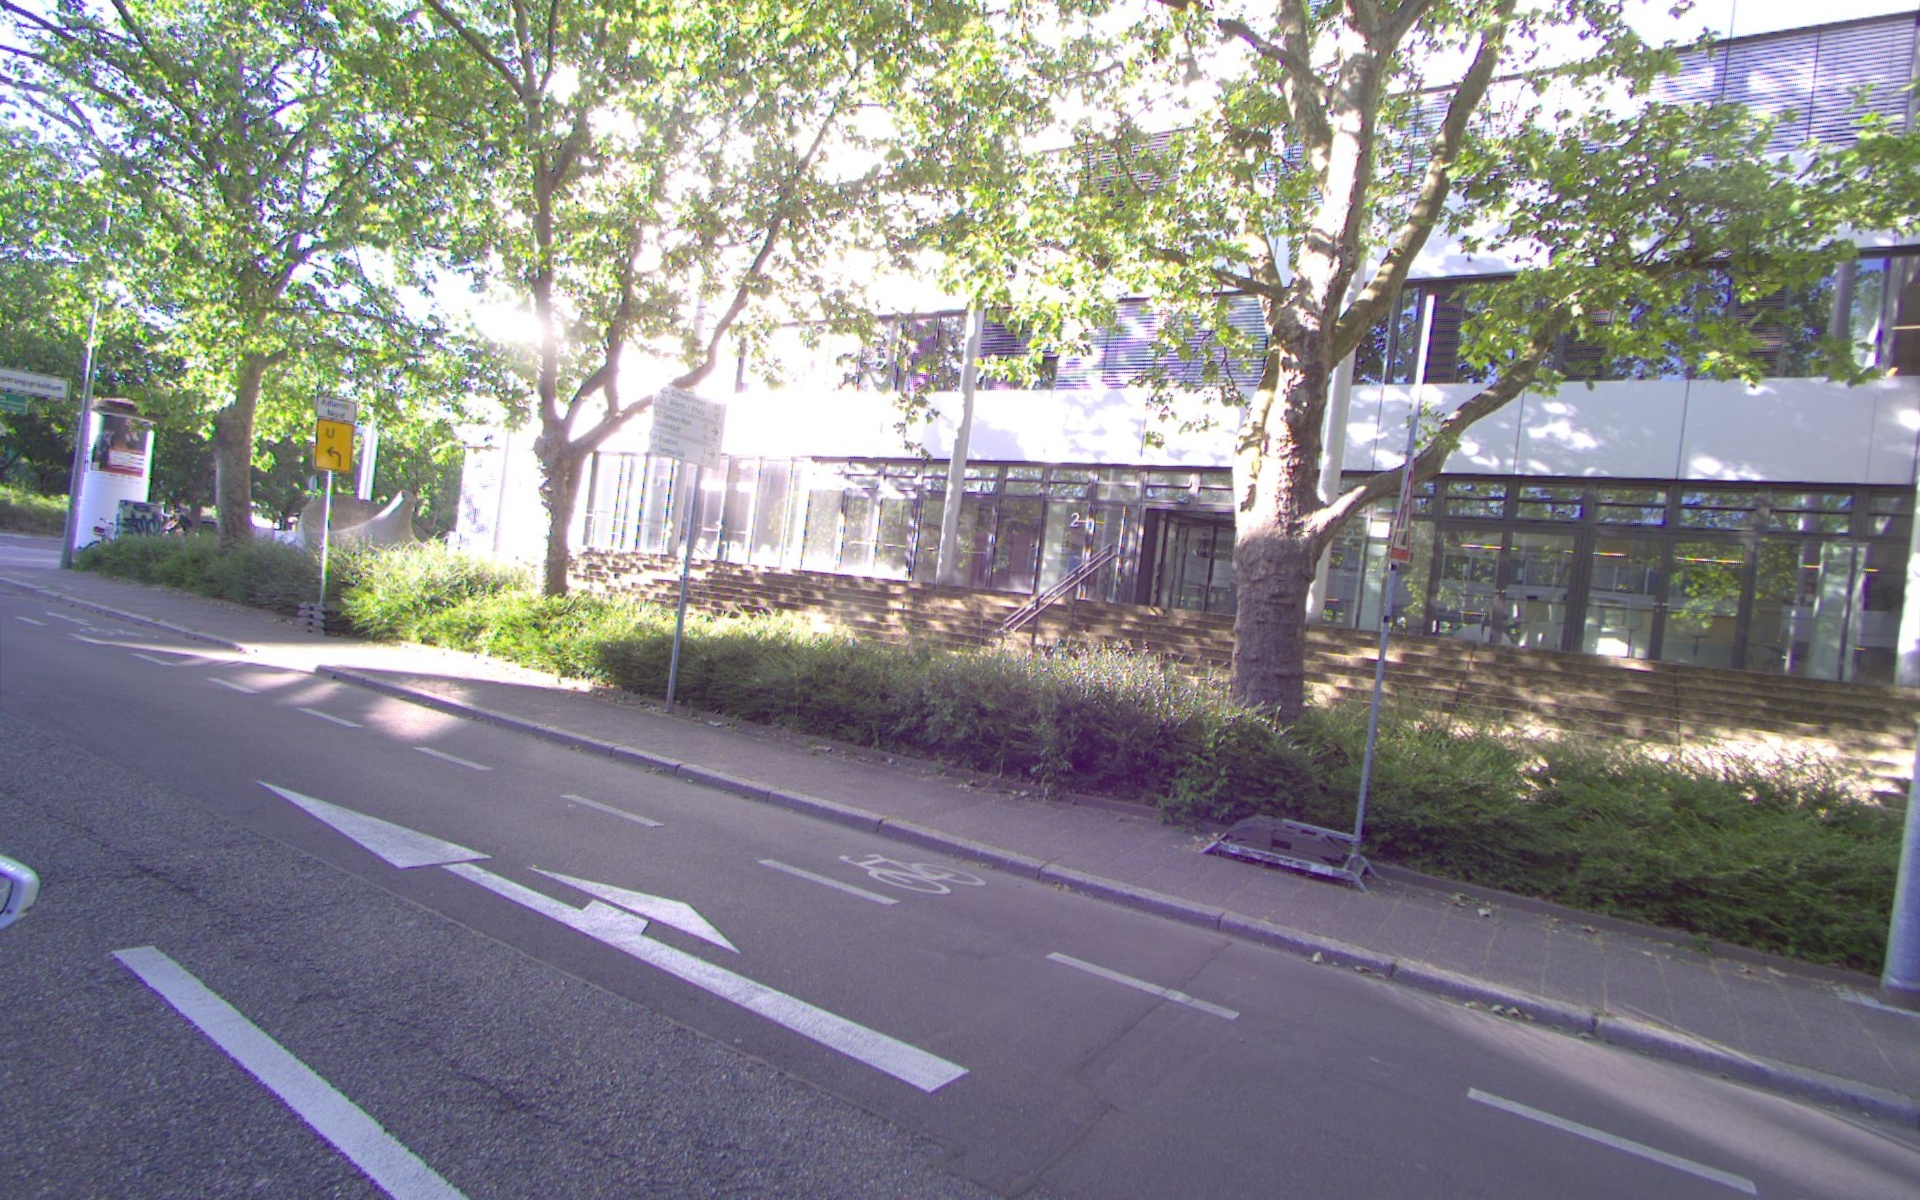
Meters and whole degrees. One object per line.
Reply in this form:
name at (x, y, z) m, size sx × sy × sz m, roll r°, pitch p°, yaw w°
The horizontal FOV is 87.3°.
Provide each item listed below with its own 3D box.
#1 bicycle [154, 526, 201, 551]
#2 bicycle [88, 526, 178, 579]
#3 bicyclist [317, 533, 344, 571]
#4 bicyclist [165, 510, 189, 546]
bicycle at (-32.215, -2.539, 41.450) m, size 0.504 × 0.810 × 1.370 m, roll 6°, pitch -2°, yaw 35°
bicycle at (-19.029, -1.073, 23.168) m, size 0.295 × 0.991 × 1.484 m, roll 6°, pitch -2°, yaw 37°
bicyclist at (-29.059, -2.208, 46.434) m, size 0.588 × 1.600 × 0.730 m, roll 6°, pitch -1°, yaw 38°
bicyclist at (-32.210, -2.964, 41.372) m, size 0.534 × 1.363 × 0.523 m, roll 6°, pitch -1°, yaw 35°
